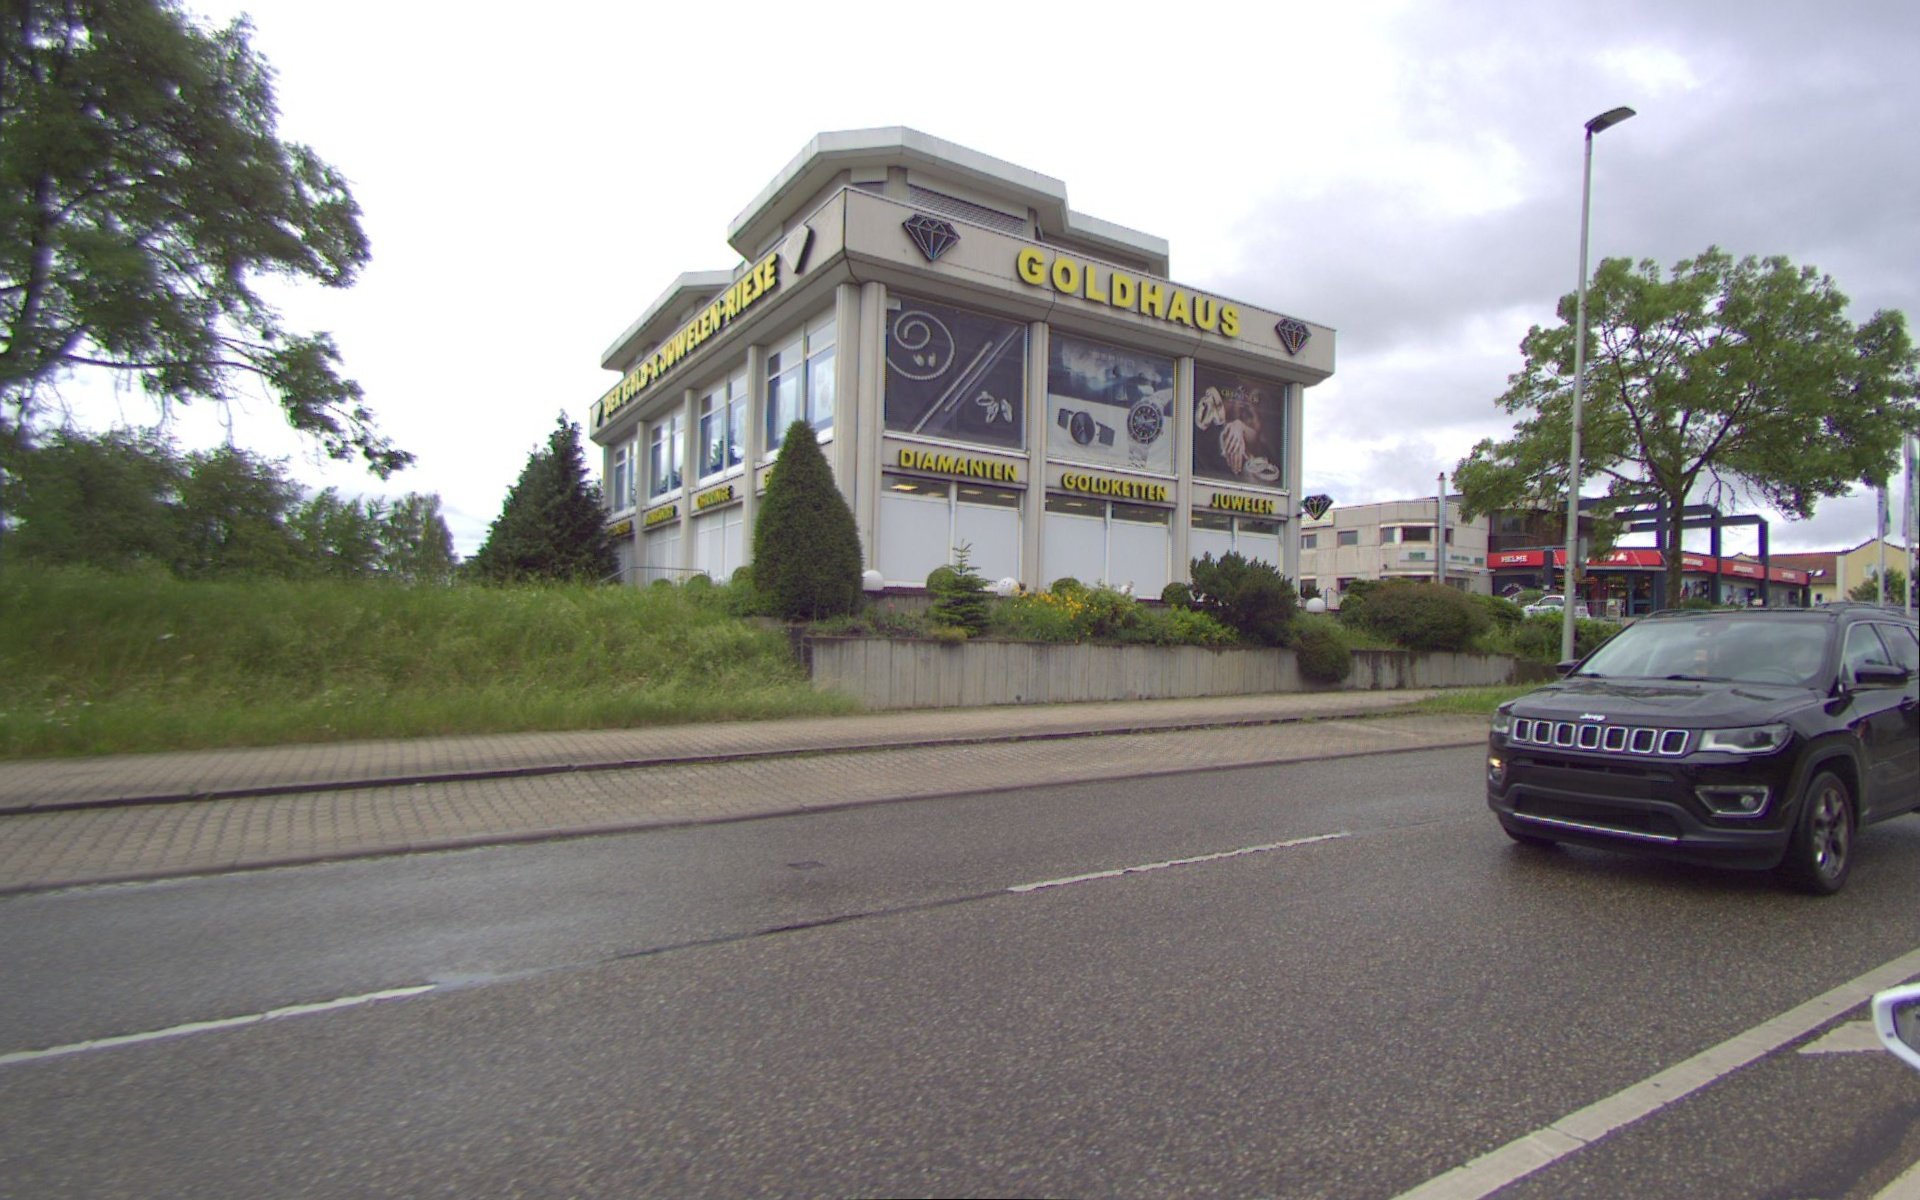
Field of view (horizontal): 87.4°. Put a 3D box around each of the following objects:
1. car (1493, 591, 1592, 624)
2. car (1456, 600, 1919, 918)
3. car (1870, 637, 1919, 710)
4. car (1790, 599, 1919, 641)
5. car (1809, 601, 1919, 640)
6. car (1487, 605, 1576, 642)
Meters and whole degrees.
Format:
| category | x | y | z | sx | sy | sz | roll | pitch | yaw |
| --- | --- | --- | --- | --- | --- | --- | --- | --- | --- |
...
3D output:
| category | x | y | z | sx | sy | sz | roll | pitch | yaw |
| --- | --- | --- | --- | --- | --- | --- | --- | --- | --- |
| car | 28.310 | 0.397 | 48.904 | 1.856 | 1.502 | 3.802 | 2 | -2 | -35 |
| car | 5.501 | 0.849 | 6.957 | 4.151 | 1.605 | 1.786 | 1 | -2 | -32 |
| car | 20.689 | 1.466 | 20.615 | 4.249 | 1.420 | 1.785 | 1 | -2 | -30 |
| car | 34.232 | 0.764 | 38.240 | 1.726 | 1.502 | 3.799 | 2 | -2 | -37 |
| car | 36.364 | 0.814 | 40.030 | 1.726 | 1.502 | 3.621 | 2 | -2 | -37 |
| car | 25.072 | 1.046 | 44.032 | 3.956 | 1.532 | 1.666 | 2 | -3 | -31 |
